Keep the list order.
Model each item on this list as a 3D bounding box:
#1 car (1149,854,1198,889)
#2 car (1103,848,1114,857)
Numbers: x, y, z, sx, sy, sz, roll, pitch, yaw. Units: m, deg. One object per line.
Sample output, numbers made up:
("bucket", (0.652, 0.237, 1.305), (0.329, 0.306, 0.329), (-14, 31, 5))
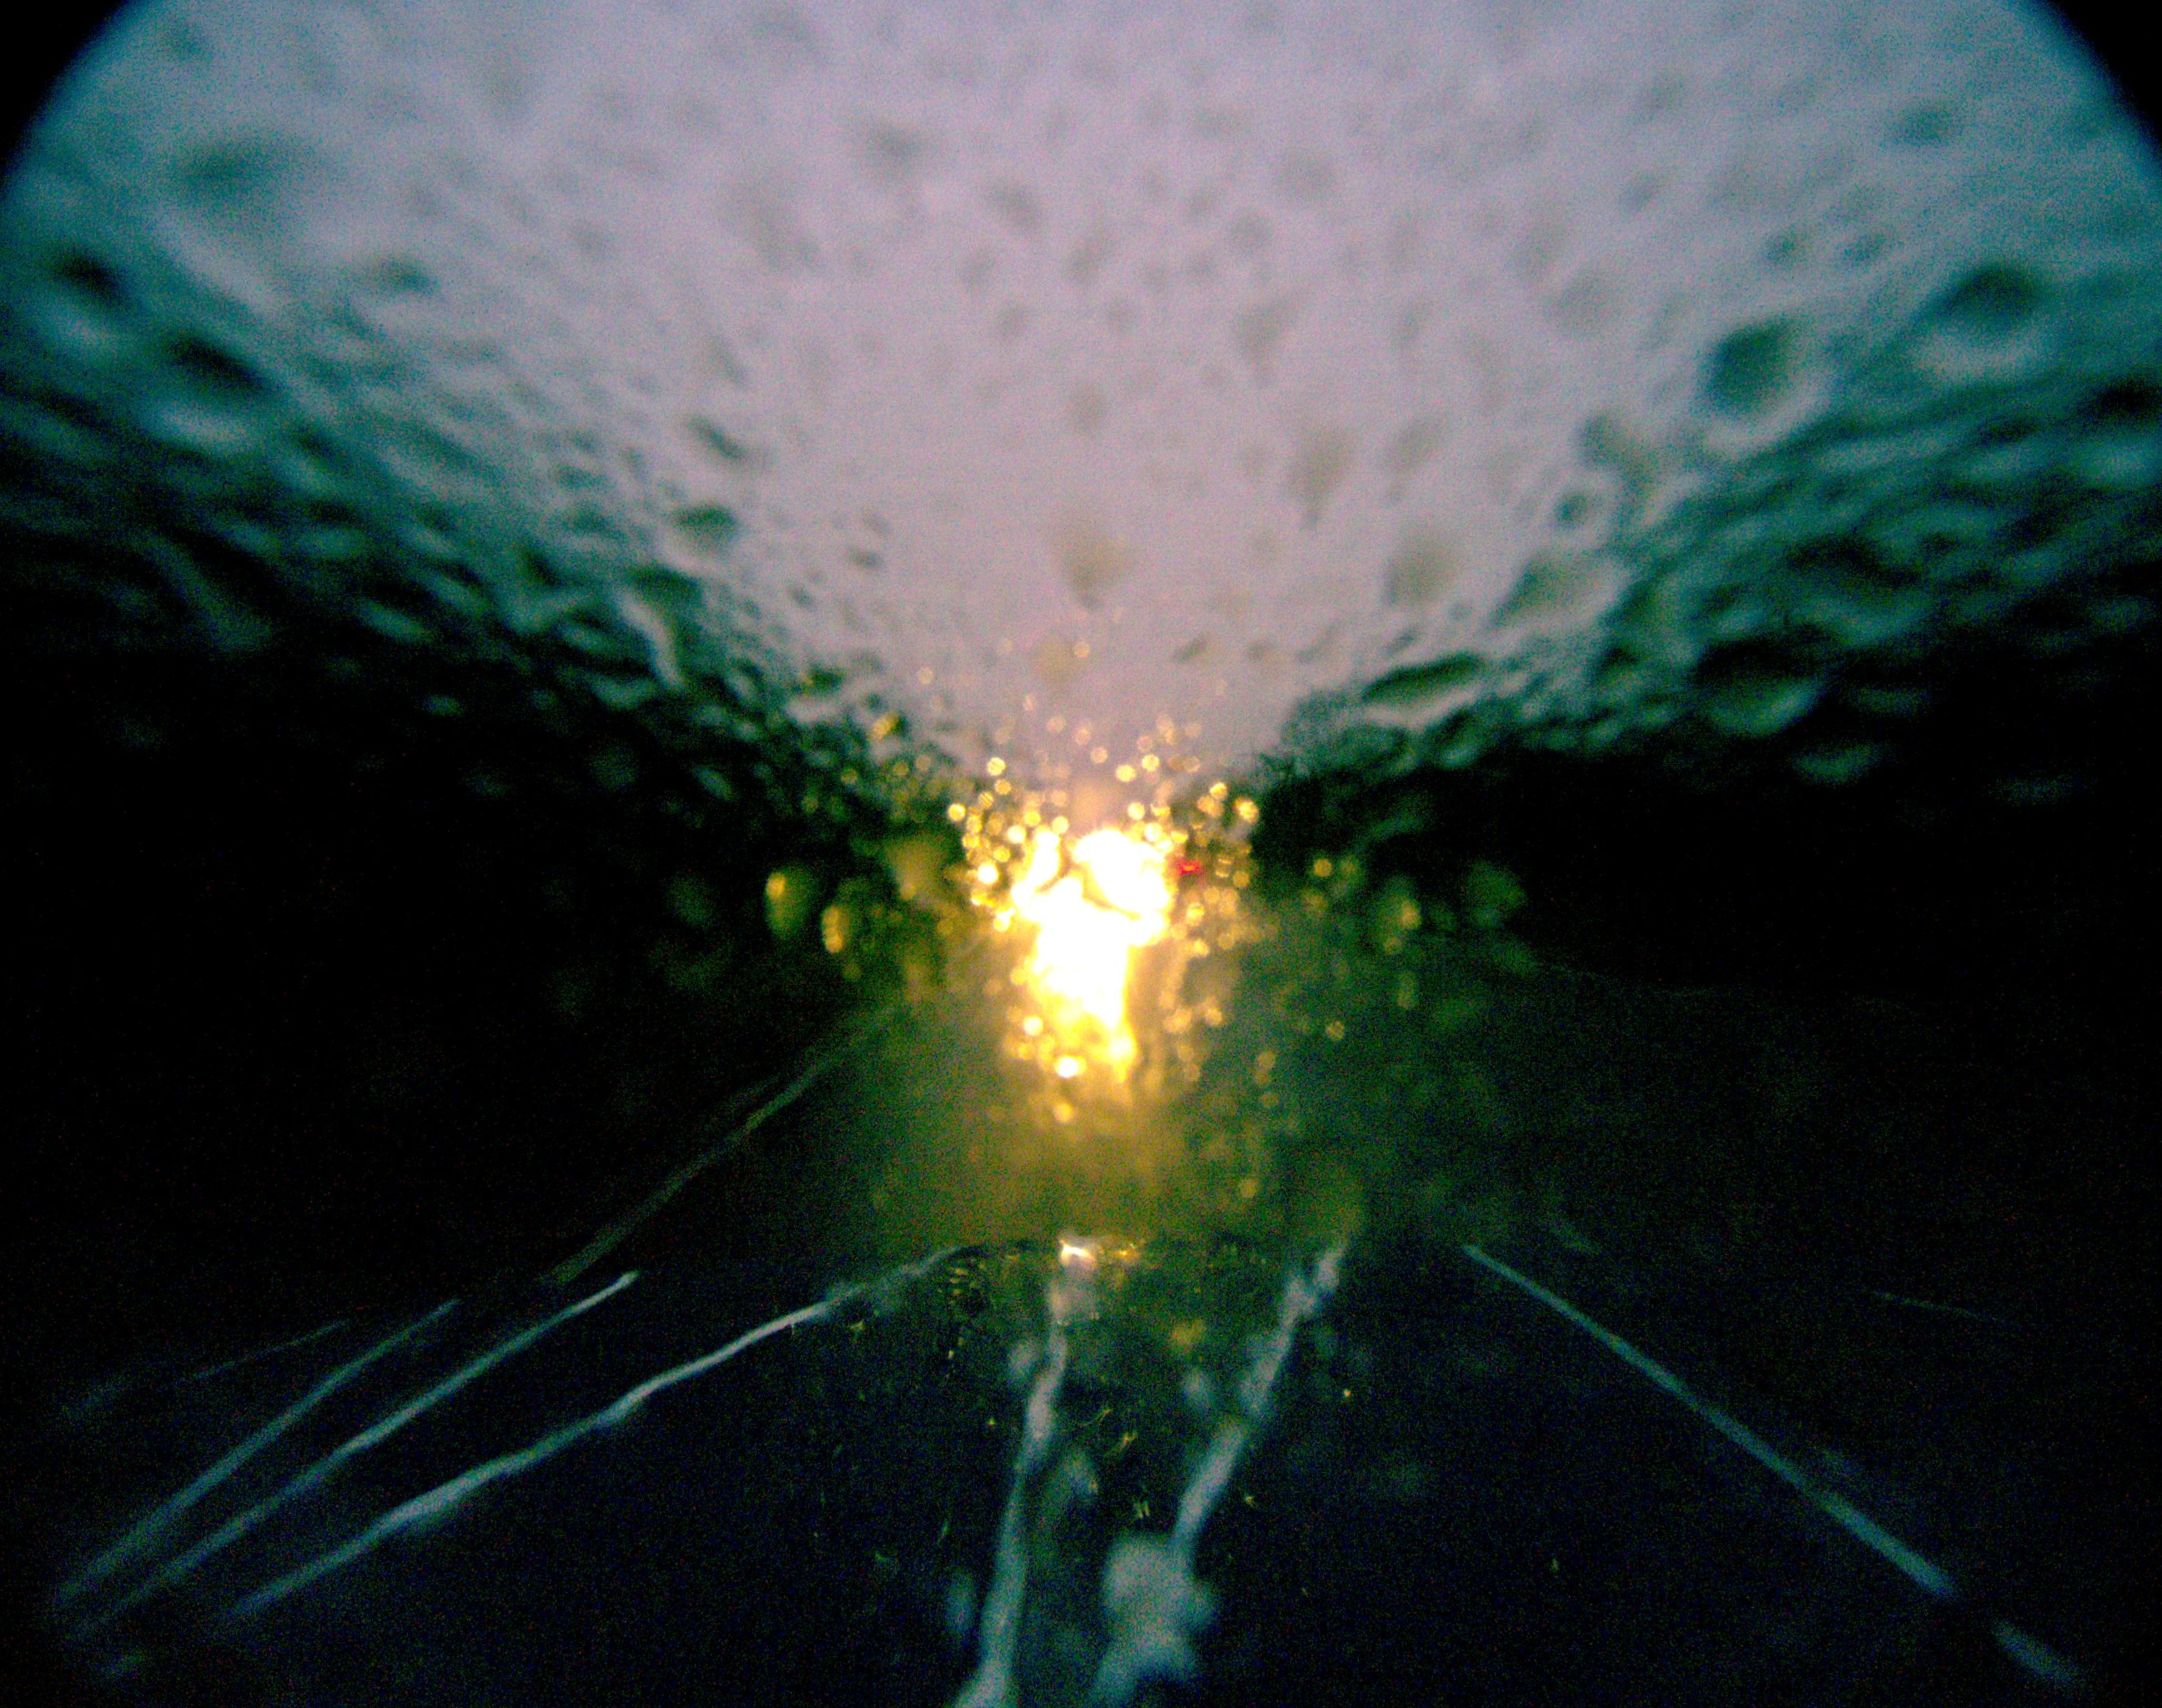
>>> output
("car", (4.350, 0.777, 36.505), (1.702, 1.487, 5.664), (-2, 0, 1))
("car", (5.134, -0.248, 141.386), (1.738, 1.525, 4.959), (-2, 0, 0))
